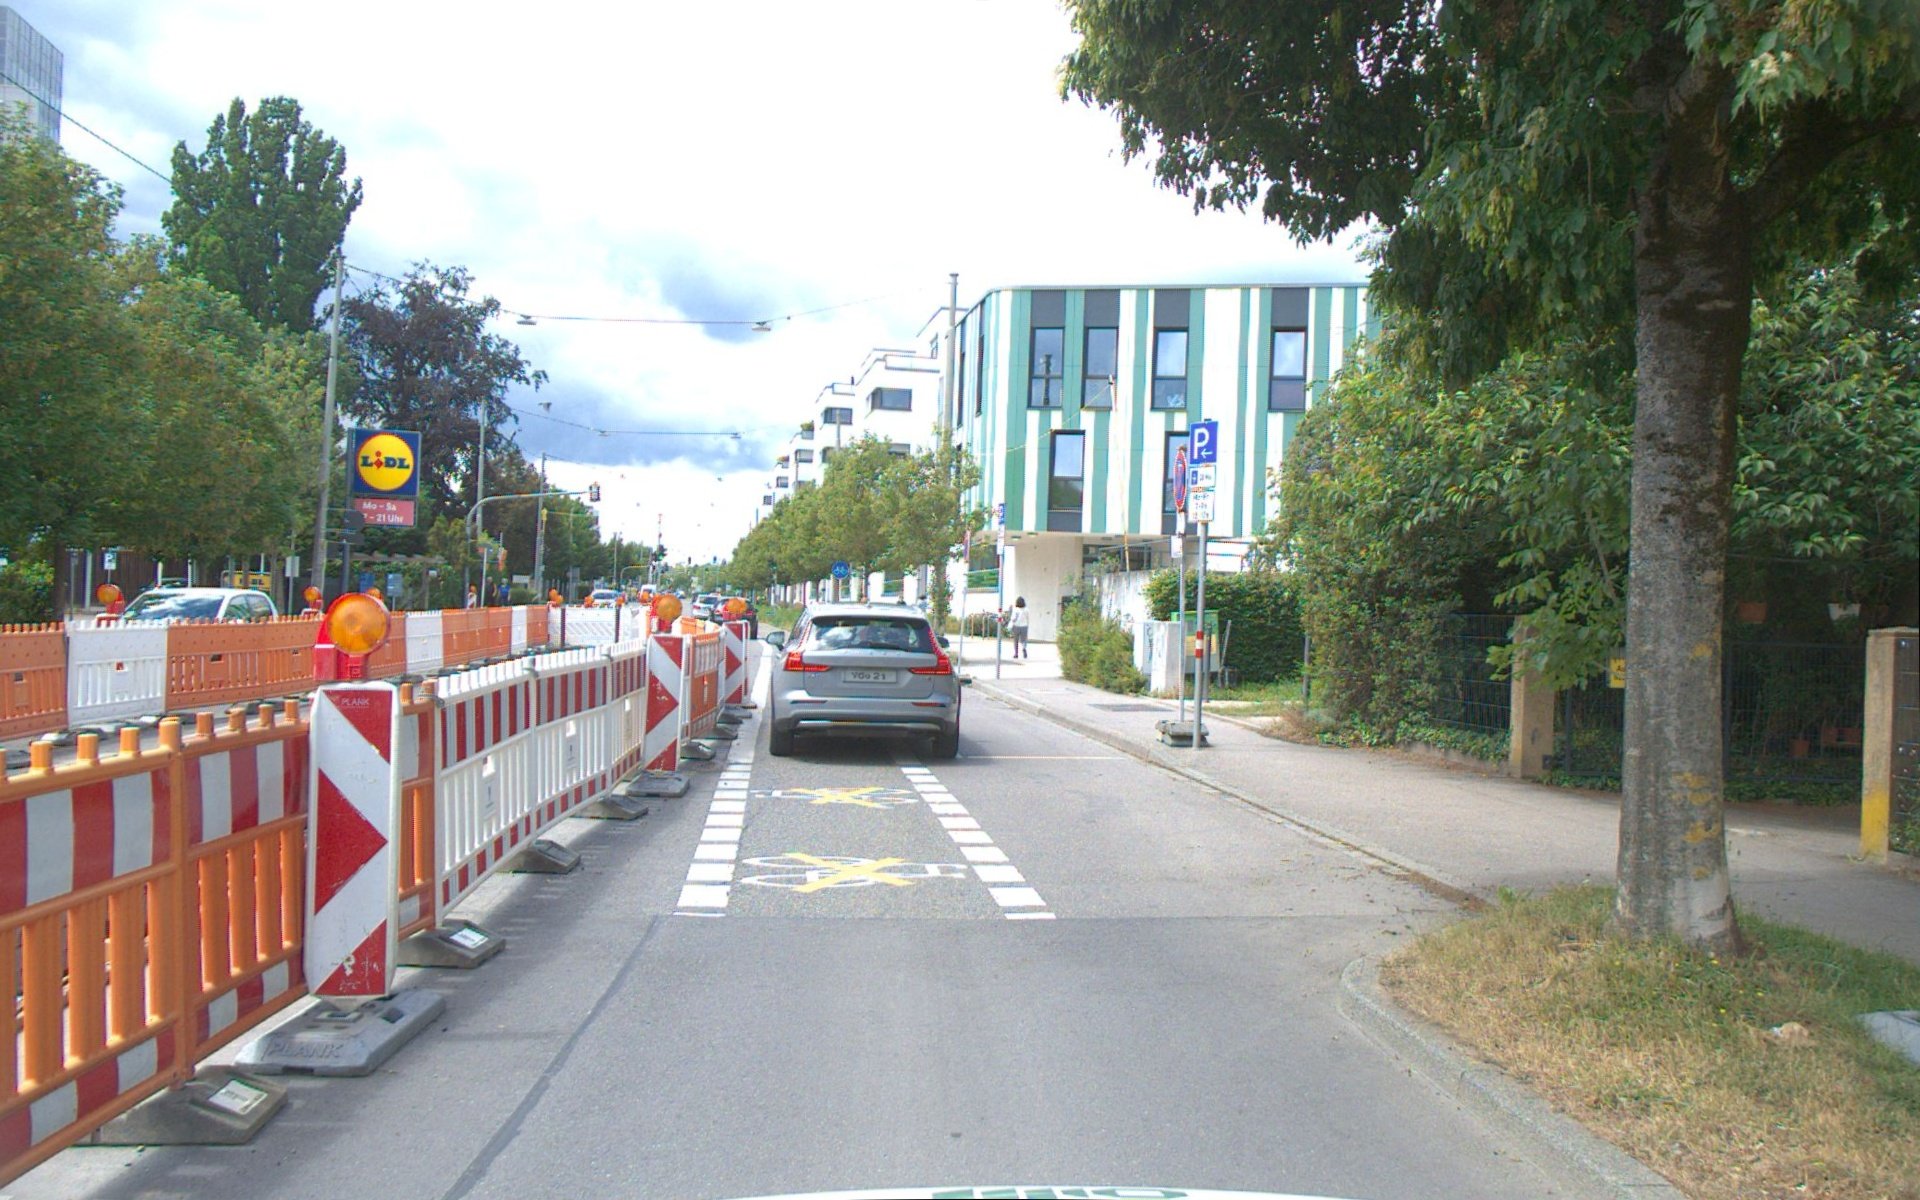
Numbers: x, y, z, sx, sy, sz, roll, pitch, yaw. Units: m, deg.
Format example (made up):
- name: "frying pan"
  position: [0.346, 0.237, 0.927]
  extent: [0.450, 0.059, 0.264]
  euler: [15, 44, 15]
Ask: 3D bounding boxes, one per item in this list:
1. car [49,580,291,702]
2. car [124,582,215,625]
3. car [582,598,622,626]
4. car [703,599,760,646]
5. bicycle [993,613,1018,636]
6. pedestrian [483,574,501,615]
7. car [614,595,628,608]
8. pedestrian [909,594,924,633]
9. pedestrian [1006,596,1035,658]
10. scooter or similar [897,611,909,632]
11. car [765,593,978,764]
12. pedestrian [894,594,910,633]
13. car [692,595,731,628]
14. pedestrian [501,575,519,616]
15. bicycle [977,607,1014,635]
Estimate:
- name: "car"
  position: [-10.809, 0.515, 22.955]
  extent: [1.819, 1.478, 3.993]
  euler: [3, 0, -8]
- name: "car"
  position: [-29.047, 0.120, 60.886]
  extent: [1.957, 1.478, 3.991]
  euler: [1, 0, -10]
- name: "car"
  position: [-20.648, 0.652, 95.505]
  extent: [1.818, 1.539, 3.995]
  euler: [1, 0, -6]
- name: "car"
  position: [-8.294, 0.788, 59.755]
  extent: [1.821, 1.539, 3.990]
  euler: [3, 0, -10]
- name: "bicycle"
  position: [1.729, 0.921, 63.034]
  extent: [1.016, 0.856, 0.302]
  euler: [1, 0, -43]
- name: "pedestrian"
  position: [-21.557, -0.249, 76.240]
  extent: [0.669, 1.887, 0.705]
  euler: [1, -1, -10]
- name: "car"
  position: [-43.045, 0.211, 209.979]
  extent: [1.631, 1.542, 3.991]
  euler: [2, 0, -10]
- name: "pedestrian"
  position: [-1.927, 0.595, 72.738]
  extent: [0.540, 1.684, 0.605]
  euler: [1, 0, -10]
- name: "pedestrian"
  position: [1.565, 0.701, 42.747]
  extent: [0.570, 1.579, 0.867]
  euler: [1, 0, -10]
- name: "scooter or similar"
  position: [-2.508, 0.959, 73.040]
  extent: [0.414, 0.921, 0.680]
  euler: [1, 0, -10]
- name: "car"
  position: [-1.027, 0.715, 17.062]
  extent: [1.820, 1.539, 3.992]
  euler: [1, 0, -8]
- name: "pedestrian"
  position: [-2.588, 0.595, 73.537]
  extent: [0.594, 1.684, 0.550]
  euler: [1, 0, -10]
- name: "car"
  position: [-12.850, 0.559, 85.419]
  extent: [1.811, 1.539, 3.990]
  euler: [3, 0, -10]
- name: "pedestrian"
  position: [-20.812, -0.212, 76.470]
  extent: [0.669, 1.887, 0.890]
  euler: [1, -1, -10]
- name: "bicycle"
  position: [1.371, 0.809, 64.064]
  extent: [1.444, 1.064, 0.305]
  euler: [1, 0, -22]
